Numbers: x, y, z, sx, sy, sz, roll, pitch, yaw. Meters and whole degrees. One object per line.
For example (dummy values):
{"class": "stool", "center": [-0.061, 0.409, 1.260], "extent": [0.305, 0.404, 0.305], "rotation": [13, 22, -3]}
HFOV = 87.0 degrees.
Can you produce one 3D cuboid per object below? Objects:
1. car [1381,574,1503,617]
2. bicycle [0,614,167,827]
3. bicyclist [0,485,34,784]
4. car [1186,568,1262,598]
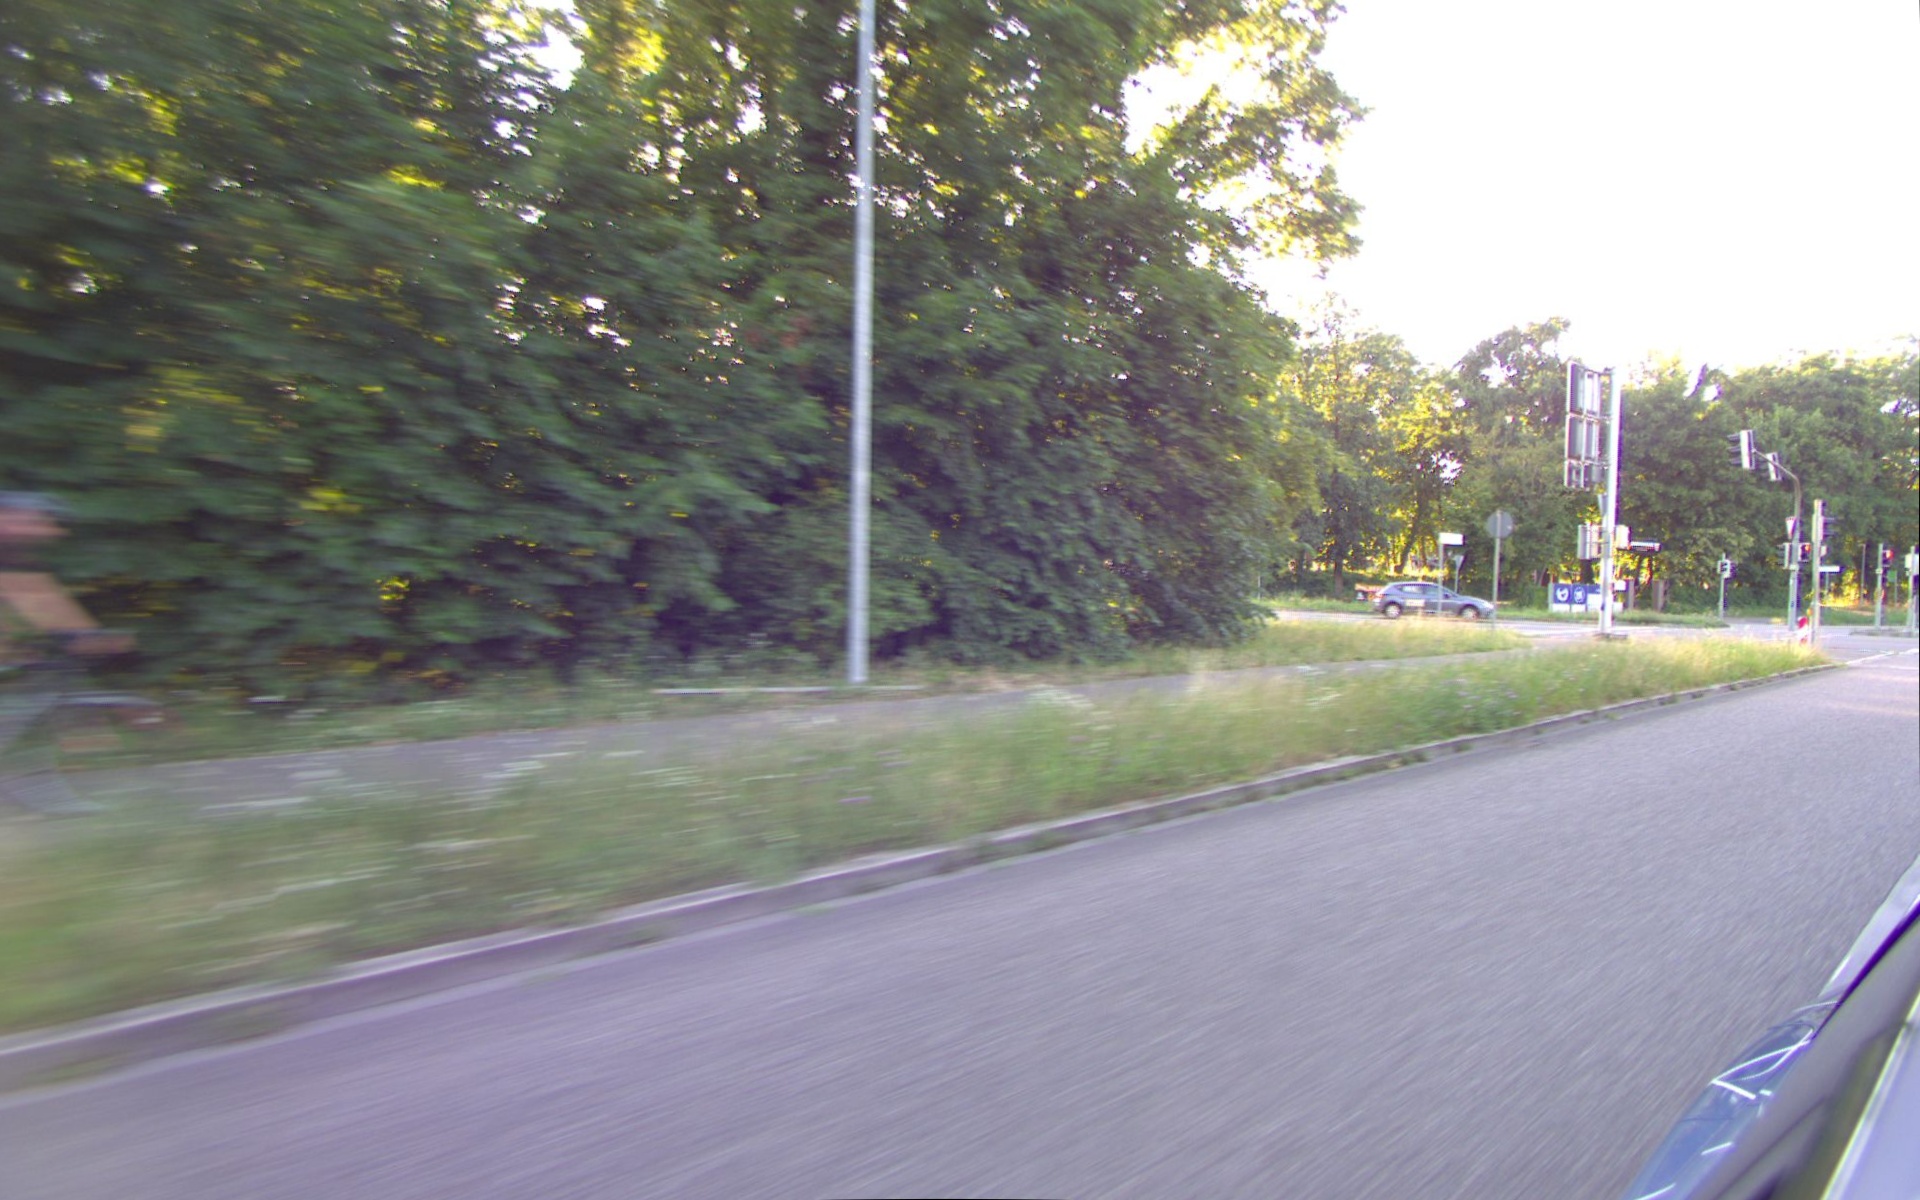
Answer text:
{"class": "car", "center": [18.205, -0.214, 38.316], "extent": [4.037, 1.422, 1.855], "rotation": [2, 3, 28]}
{"class": "bicycle", "center": [-5.062, 0.609, 5.105], "extent": [1.661, 1.008, 0.612], "rotation": [-1, 3, -39]}
{"class": "bicyclist", "center": [-5.140, 0.160, 5.023], "extent": [0.766, 1.473, 0.604], "rotation": [0, 2, -39]}
{"class": "car", "center": [16.338, -1.100, 62.875], "extent": [4.480, 1.678, 1.858], "rotation": [2, 2, 14]}
